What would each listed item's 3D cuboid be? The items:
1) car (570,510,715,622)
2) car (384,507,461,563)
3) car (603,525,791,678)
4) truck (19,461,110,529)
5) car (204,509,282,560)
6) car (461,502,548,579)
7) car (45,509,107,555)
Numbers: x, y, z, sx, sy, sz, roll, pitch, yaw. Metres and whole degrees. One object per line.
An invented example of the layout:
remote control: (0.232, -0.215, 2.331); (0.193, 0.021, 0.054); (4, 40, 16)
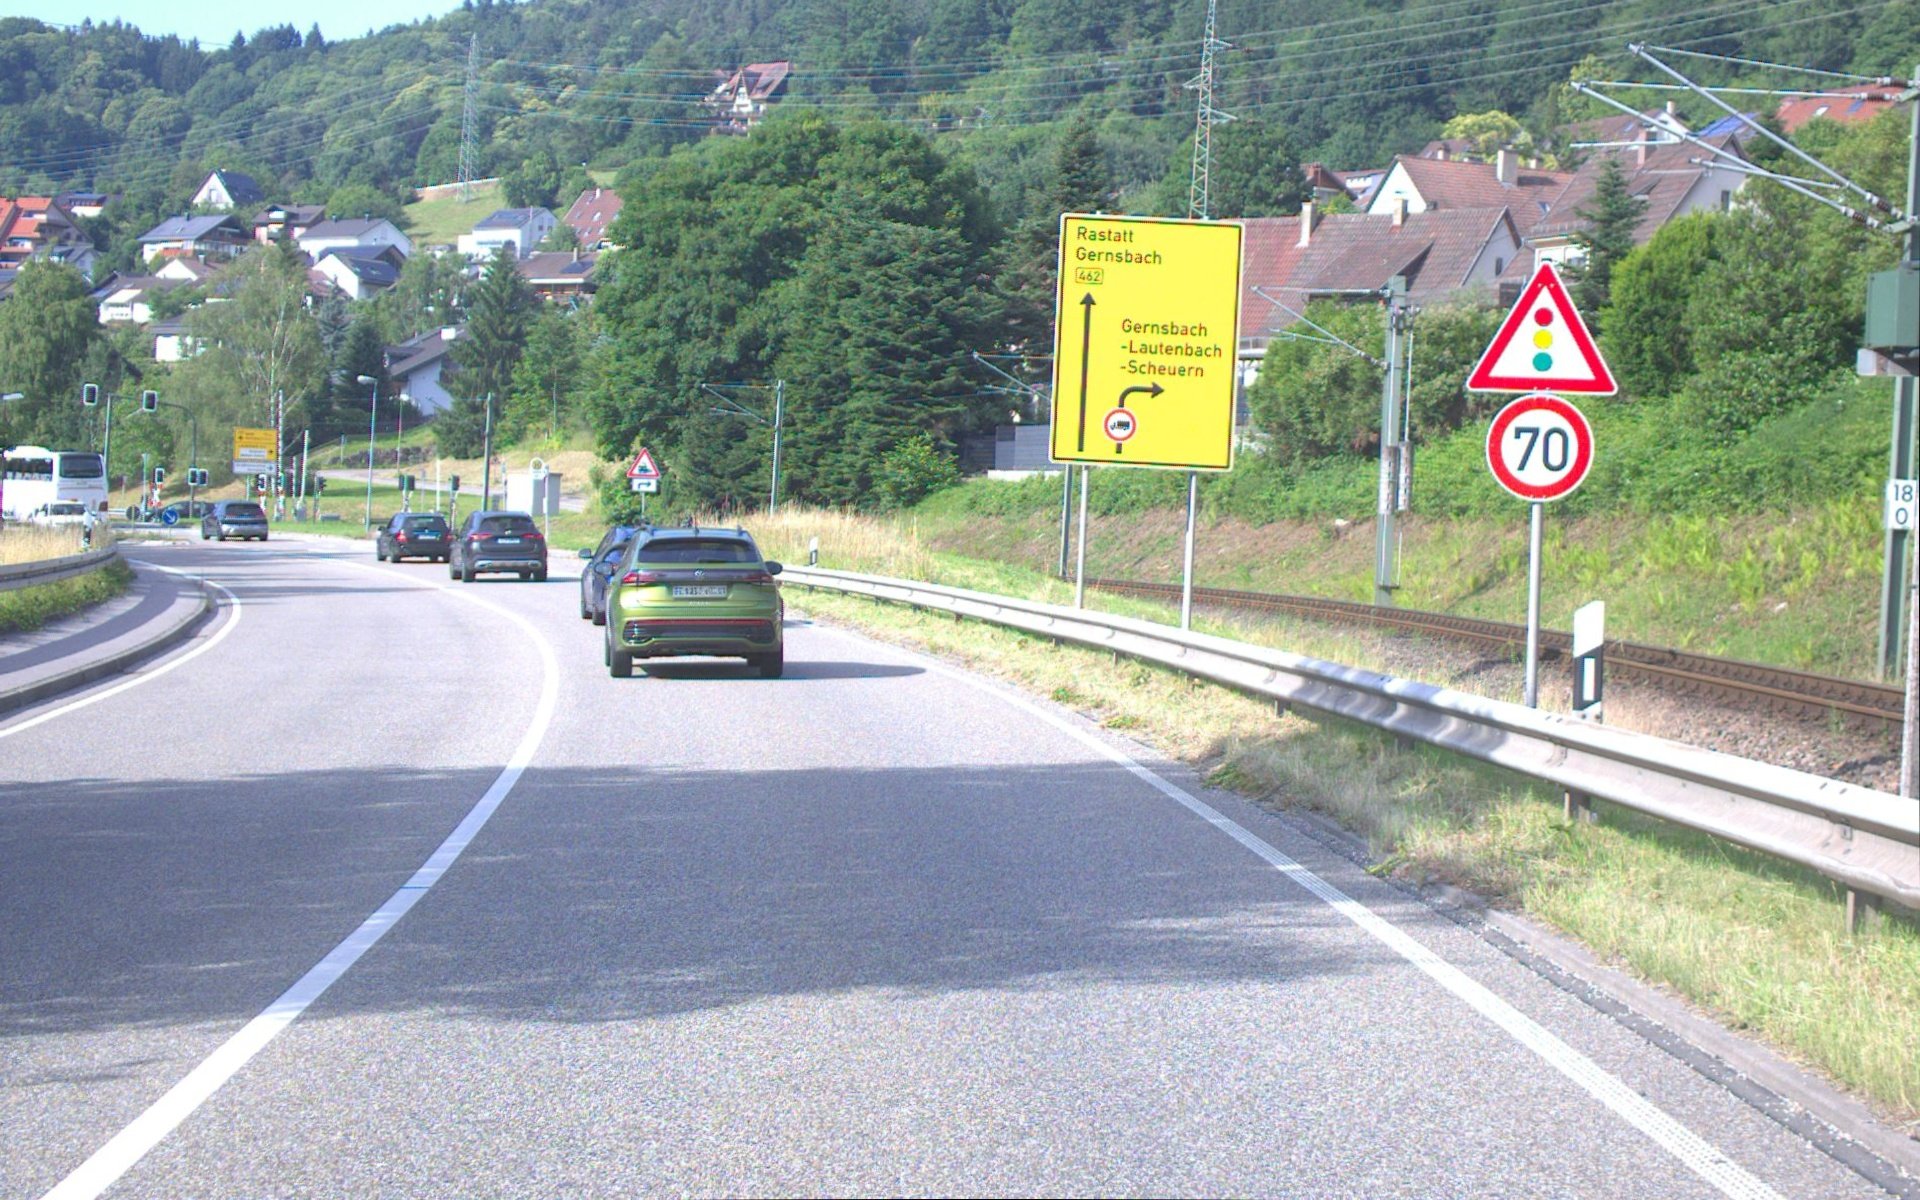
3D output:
car: (-4.668, -0.533, 50.113); (1.666, 1.554, 4.001); (-1, 2, -12)
car: (-15.543, -1.893, 99.317); (1.848, 1.521, 3.664); (2, 1, -14)
car: (-2.760, -0.029, 35.373); (1.714, 1.450, 4.001); (-1, 1, -7)
truck: (-42.429, -4.990, 162.761); (2.711, 3.073, 6.110); (0, 3, -29)
car: (-28.221, -2.569, 135.241); (2.062, 1.805, 4.001); (5, -1, -24)
car: (-10.594, -1.395, 79.759); (1.879, 1.681, 4.001); (2, 1, -9)
car: (-32.330, -2.505, 125.666); (1.993, 1.624, 4.001); (0, 1, -17)
